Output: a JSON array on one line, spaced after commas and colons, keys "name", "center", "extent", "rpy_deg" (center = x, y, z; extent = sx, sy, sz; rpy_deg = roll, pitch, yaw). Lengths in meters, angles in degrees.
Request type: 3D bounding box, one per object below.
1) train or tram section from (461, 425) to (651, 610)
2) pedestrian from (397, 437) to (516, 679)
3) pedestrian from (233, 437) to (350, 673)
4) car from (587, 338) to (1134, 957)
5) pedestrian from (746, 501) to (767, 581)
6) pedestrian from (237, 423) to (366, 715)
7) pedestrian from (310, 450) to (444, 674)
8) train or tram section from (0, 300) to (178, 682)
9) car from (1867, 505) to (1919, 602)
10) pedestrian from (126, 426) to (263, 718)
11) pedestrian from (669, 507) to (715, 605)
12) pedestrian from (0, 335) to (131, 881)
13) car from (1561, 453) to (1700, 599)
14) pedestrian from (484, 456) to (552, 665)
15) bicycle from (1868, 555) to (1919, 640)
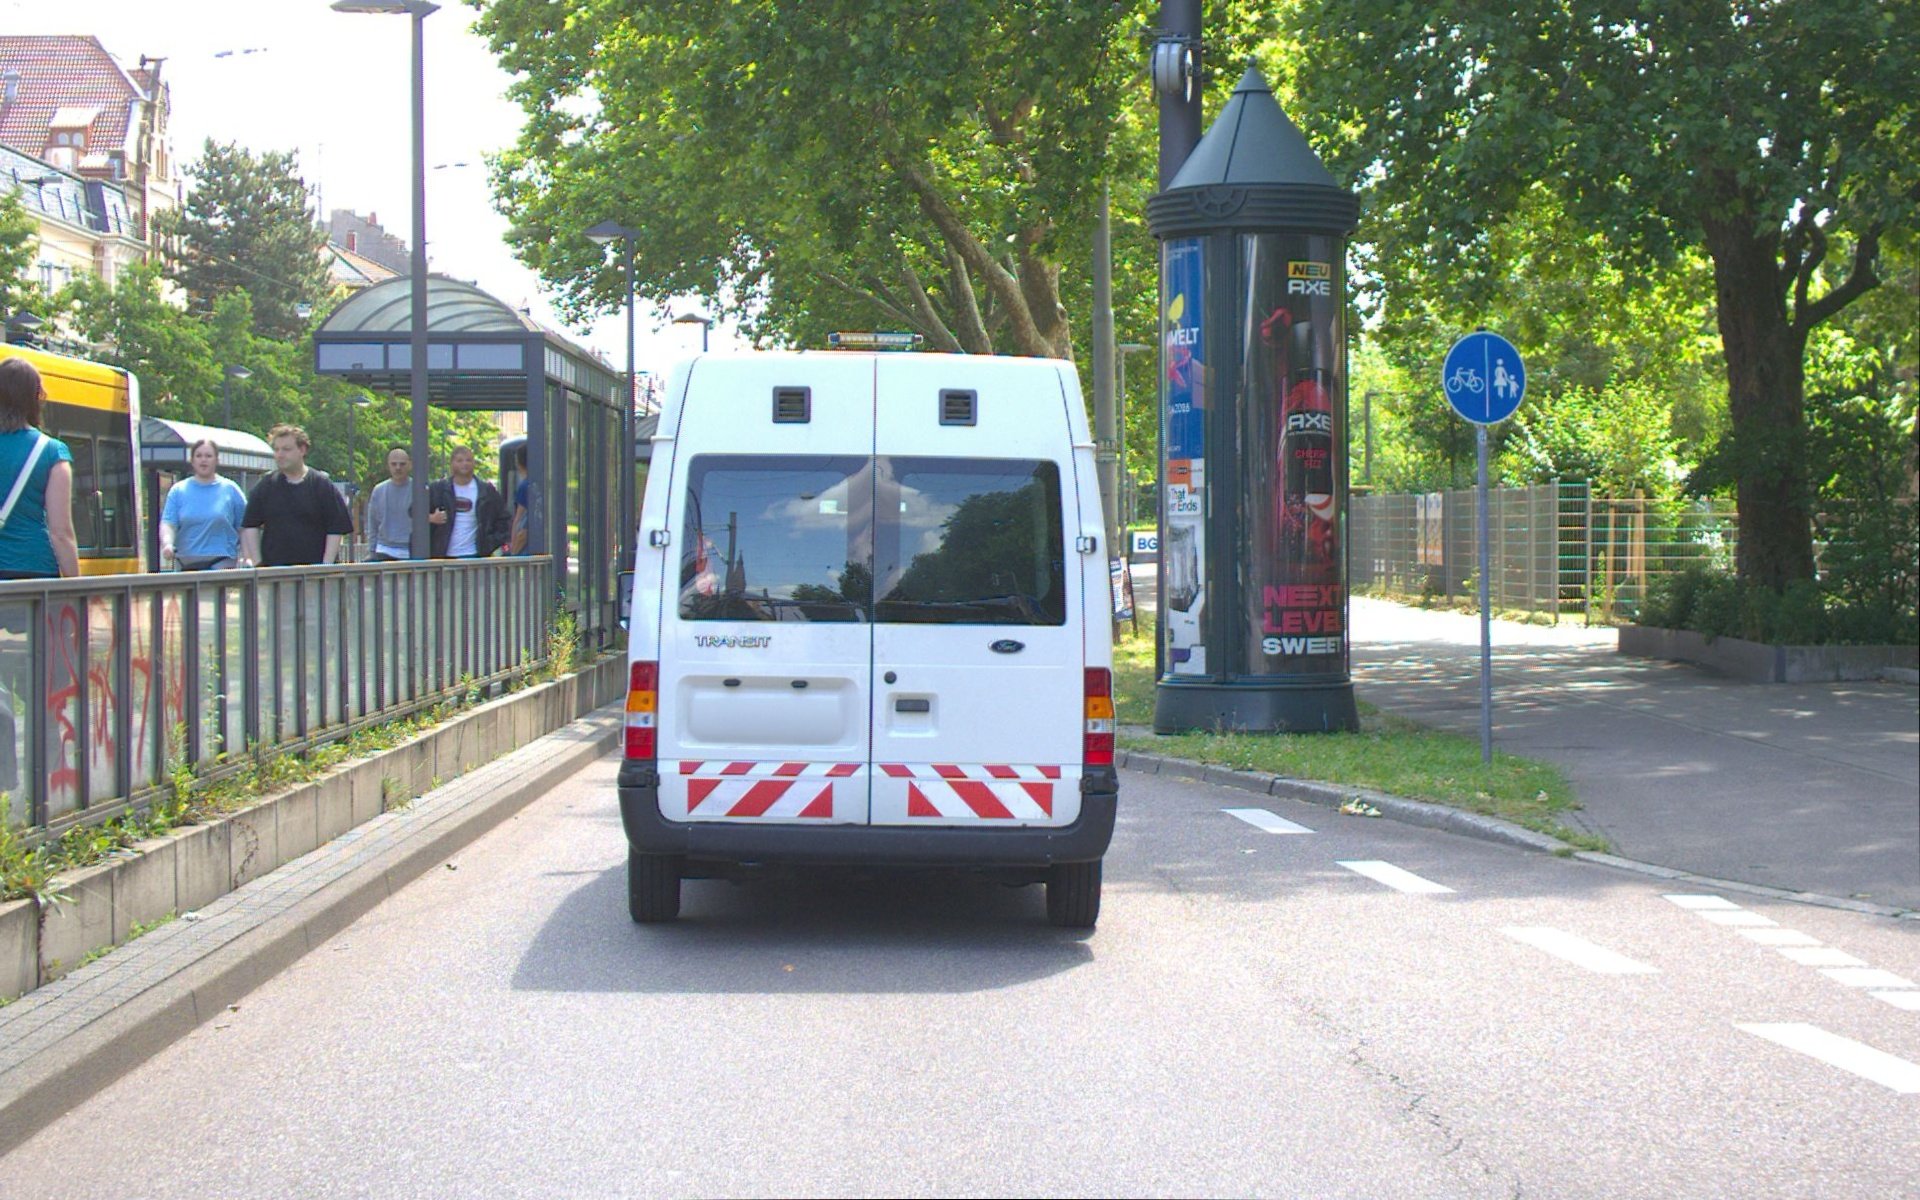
[{"name": "train or tram section", "center": [-8.433, -1.741, 73.310], "extent": [2.723, 3.572, 13.017], "rpy_deg": [0, 1, -1]}, {"name": "pedestrian", "center": [-3.962, -0.334, 27.097], "extent": [0.810, 1.866, 1.031], "rpy_deg": [0, 1, -2]}, {"name": "pedestrian", "center": [-5.192, -0.355, 26.748], "extent": [0.712, 1.794, 1.132], "rpy_deg": [0, 1, -2]}, {"name": "car", "center": [-0.404, 0.122, 15.302], "extent": [2.047, 2.325, 4.715], "rpy_deg": [0, 1, -1]}, {"name": "pedestrian", "center": [-4.026, -1.164, 67.974], "extent": [0.385, 1.586, 0.439], "rpy_deg": [0, 1, -2]}, {"name": "pedestrian", "center": [-4.231, -0.202, 22.122], "extent": [0.701, 1.843, 0.789], "rpy_deg": [0, 1, -2]}, {"name": "pedestrian", "center": [-4.789, -0.322, 28.312], "extent": [0.886, 1.794, 1.495], "rpy_deg": [0, 1, -2]}, {"name": "train or tram section", "center": [-10.352, -1.051, 33.412], "extent": [2.723, 3.572, 13.017], "rpy_deg": [0, 1, -1]}, {"name": "car", "center": [18.865, -0.905, 66.010], "extent": [1.807, 1.808, 4.339], "rpy_deg": [0, 1, 1]}, {"name": "pedestrian", "center": [-4.922, -0.183, 22.137], "extent": [0.701, 1.843, 0.908], "rpy_deg": [0, 1, -2]}, {"name": "pedestrian", "center": [-4.141, -0.685, 53.136], "extent": [0.675, 1.510, 0.596], "rpy_deg": [0, 1, -2]}, {"name": "pedestrian", "center": [-3.490, 0.019, 12.346], "extent": [0.827, 1.892, 0.846], "rpy_deg": [0, 1, -1]}, {"name": "car", "center": [13.073, -1.440, 67.272], "extent": [1.807, 2.765, 4.279], "rpy_deg": [0, 1, -1]}, {"name": "pedestrian", "center": [-4.059, -0.367, 31.556], "extent": [0.470, 1.894, 0.537], "rpy_deg": [-1, 1, -25]}, {"name": "bicycle", "center": [12.478, -0.035, 44.642], "extent": [0.605, 1.069, 1.840], "rpy_deg": [0, 1, -10]}]
